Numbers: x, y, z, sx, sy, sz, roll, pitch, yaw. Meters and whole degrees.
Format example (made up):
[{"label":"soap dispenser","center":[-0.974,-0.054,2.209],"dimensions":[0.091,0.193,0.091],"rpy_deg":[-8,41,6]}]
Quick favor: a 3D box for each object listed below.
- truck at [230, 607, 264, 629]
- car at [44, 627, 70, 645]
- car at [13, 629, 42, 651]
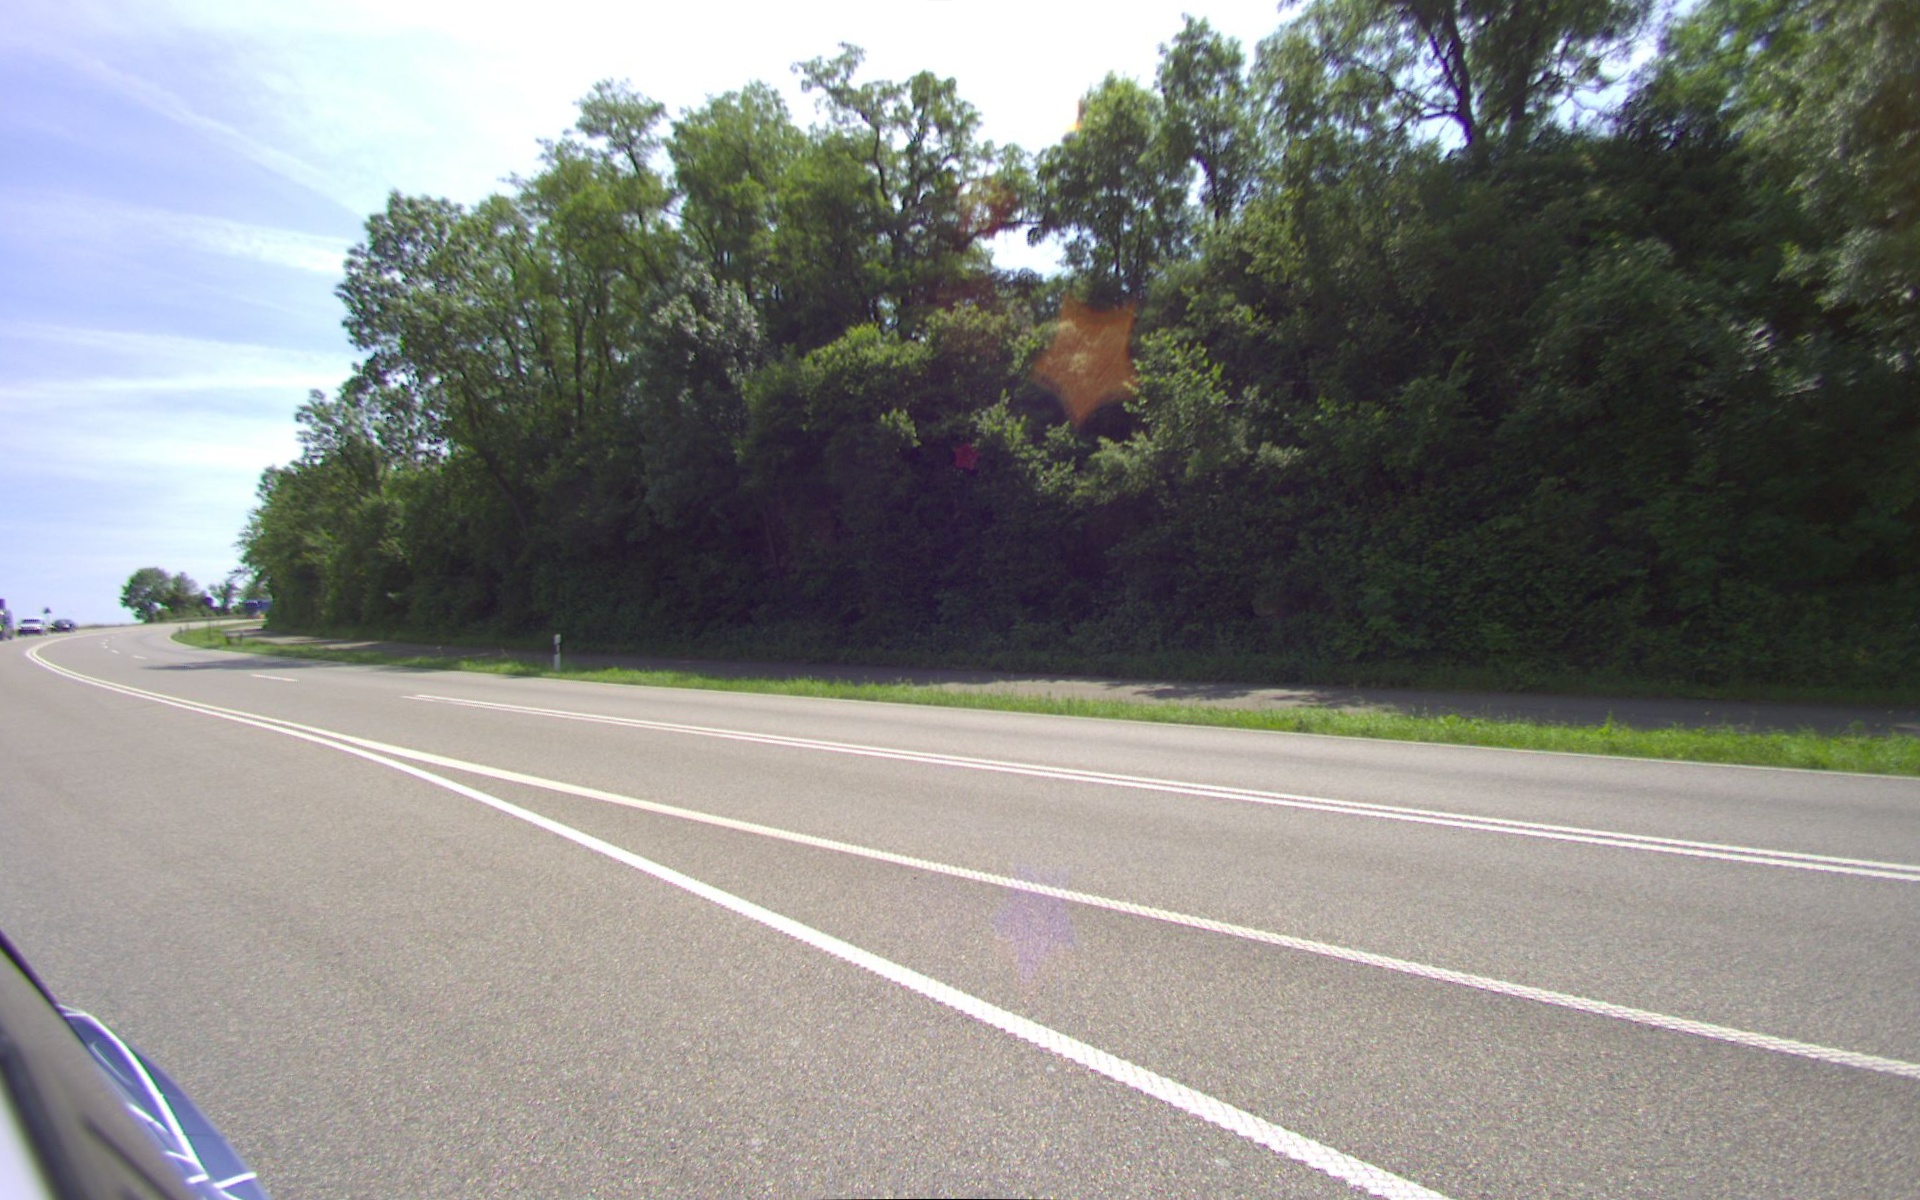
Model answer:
[{"label":"truck","center":[-154.367,3.880,219.260],"dimensions":[4.326,4.493,14.757],"rpy_deg":[-1,-1,-29]},{"label":"car","center":[-102.065,4.070,114.402],"dimensions":[1.738,1.874,3.819],"rpy_deg":[0,0,-35]},{"label":"car","center":[-92.174,3.977,100.080],"dimensions":[1.823,2.029,3.880],"rpy_deg":[0,0,-38]}]
